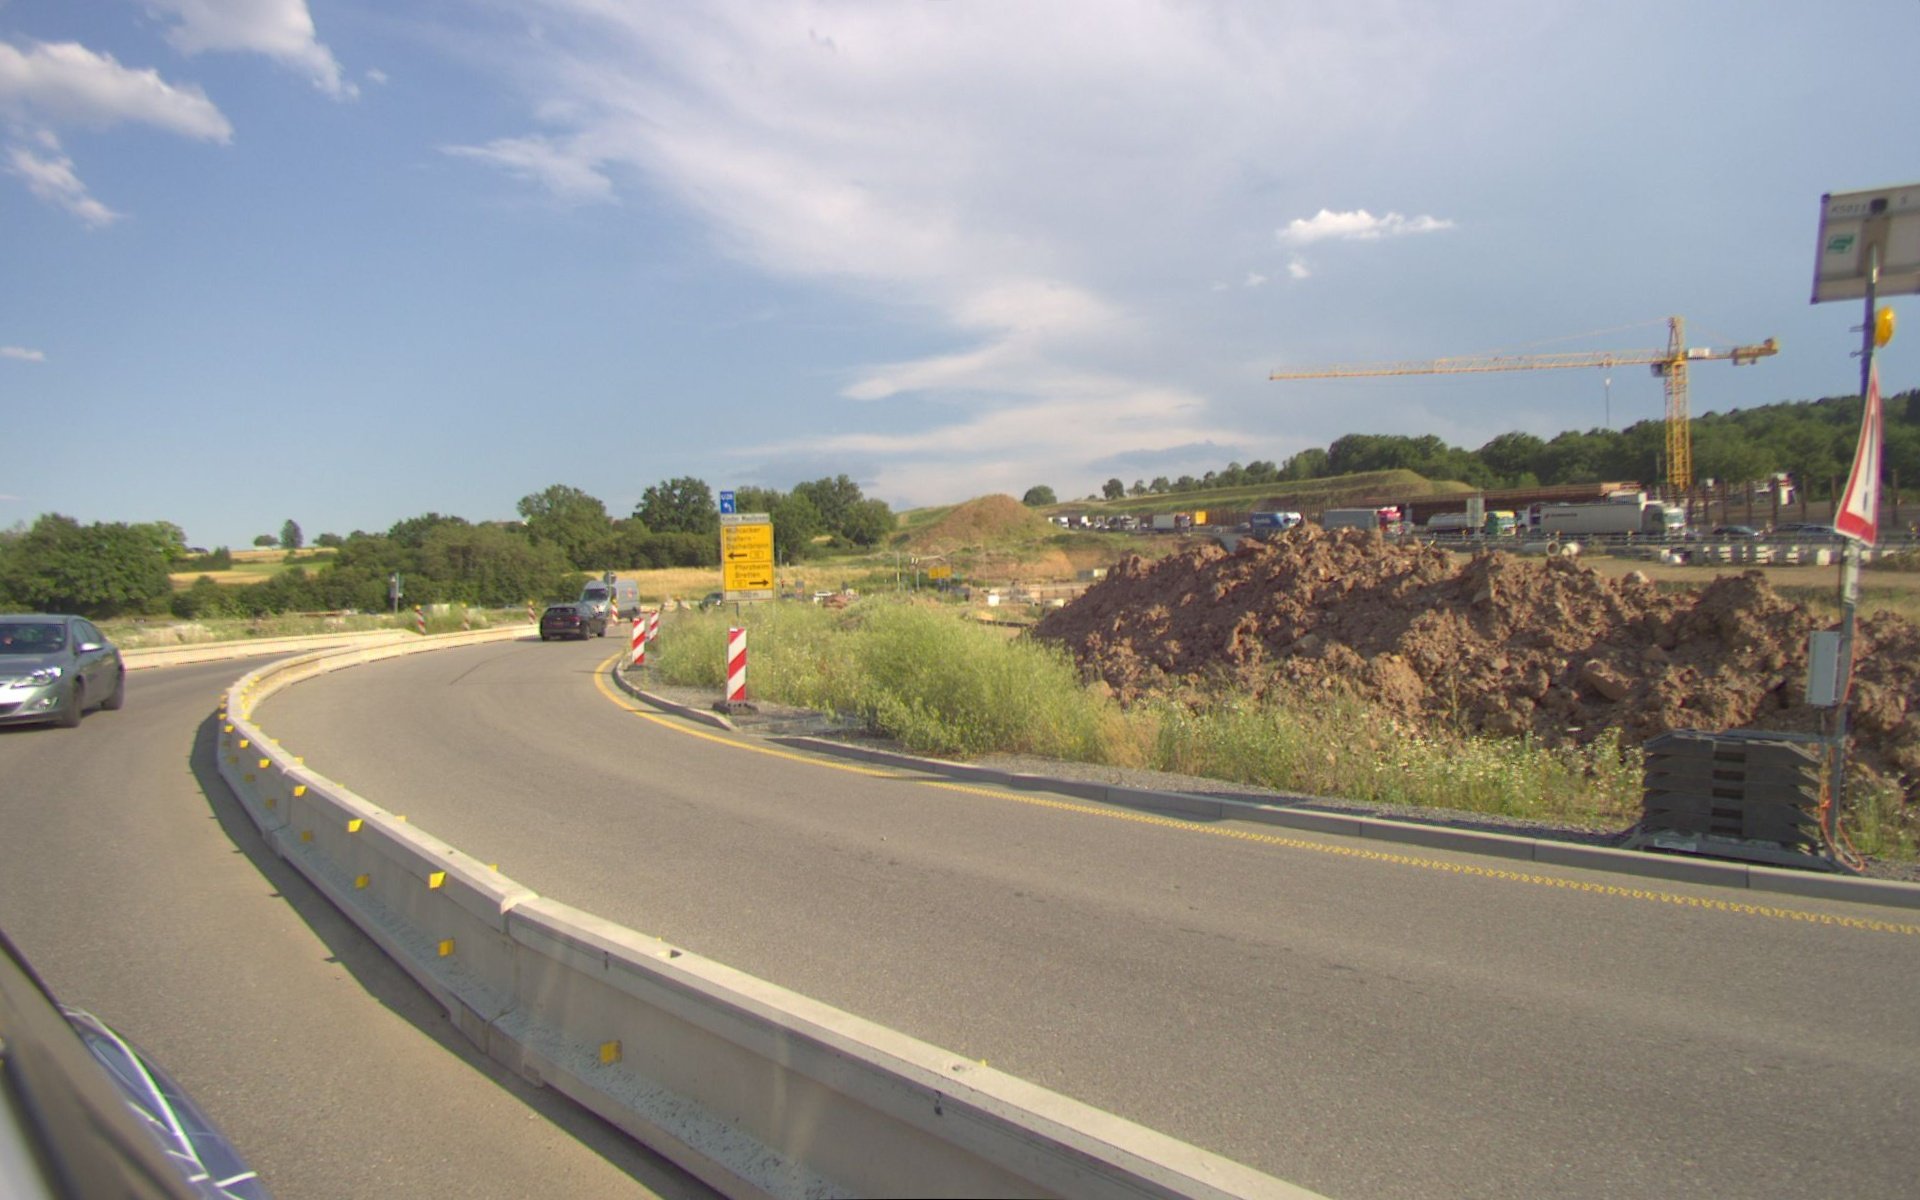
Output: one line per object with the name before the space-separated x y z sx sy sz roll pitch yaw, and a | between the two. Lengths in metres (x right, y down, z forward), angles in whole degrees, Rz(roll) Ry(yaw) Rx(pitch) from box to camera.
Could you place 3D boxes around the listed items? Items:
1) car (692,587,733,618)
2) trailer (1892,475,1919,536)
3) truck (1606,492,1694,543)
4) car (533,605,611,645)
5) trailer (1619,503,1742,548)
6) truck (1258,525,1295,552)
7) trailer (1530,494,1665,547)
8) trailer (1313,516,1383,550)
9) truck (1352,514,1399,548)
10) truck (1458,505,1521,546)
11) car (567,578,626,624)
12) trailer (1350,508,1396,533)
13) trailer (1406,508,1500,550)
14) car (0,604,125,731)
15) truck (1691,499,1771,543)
car | -20.034 0.184 82.110 1.855 2.421 3.991 -1 0 7
trailer | 71.997 -6.940 68.407 3.064 4.346 14.281 -1 0 -9
truck | 66.827 -7.956 98.237 3.064 4.346 6.910 -1 0 -9
car | -15.823 0.981 41.514 1.690 1.530 4.518 0 0 -3
trailer | 84.638 -8.654 119.531 3.066 4.346 14.271 -1 0 -6
truck | 54.410 -10.512 174.332 2.483 4.031 8.568 -1 0 -8
trailer | 65.684 -8.056 104.991 3.064 4.346 14.281 -1 0 -9
trailer | 58.598 -10.056 153.559 3.064 4.346 14.281 -1 0 -9
truck | 59.852 -9.917 145.952 3.064 4.346 6.910 -1 0 -9
truck | 63.562 -8.886 121.698 3.064 4.346 6.910 -1 0 -9
car | -21.605 0.035 60.353 1.888 2.520 5.805 -1 0 -6
trailer | 72.970 -14.048 179.059 1.940 3.540 11.197 -1 0 -9
trailer | 62.458 -8.934 128.873 3.064 4.346 14.281 -1 0 -9
car | -12.821 0.858 13.694 1.719 1.495 4.264 -2 0 -31
truck | 85.433 -8.664 112.313 3.065 4.346 6.906 -1 0 -6
